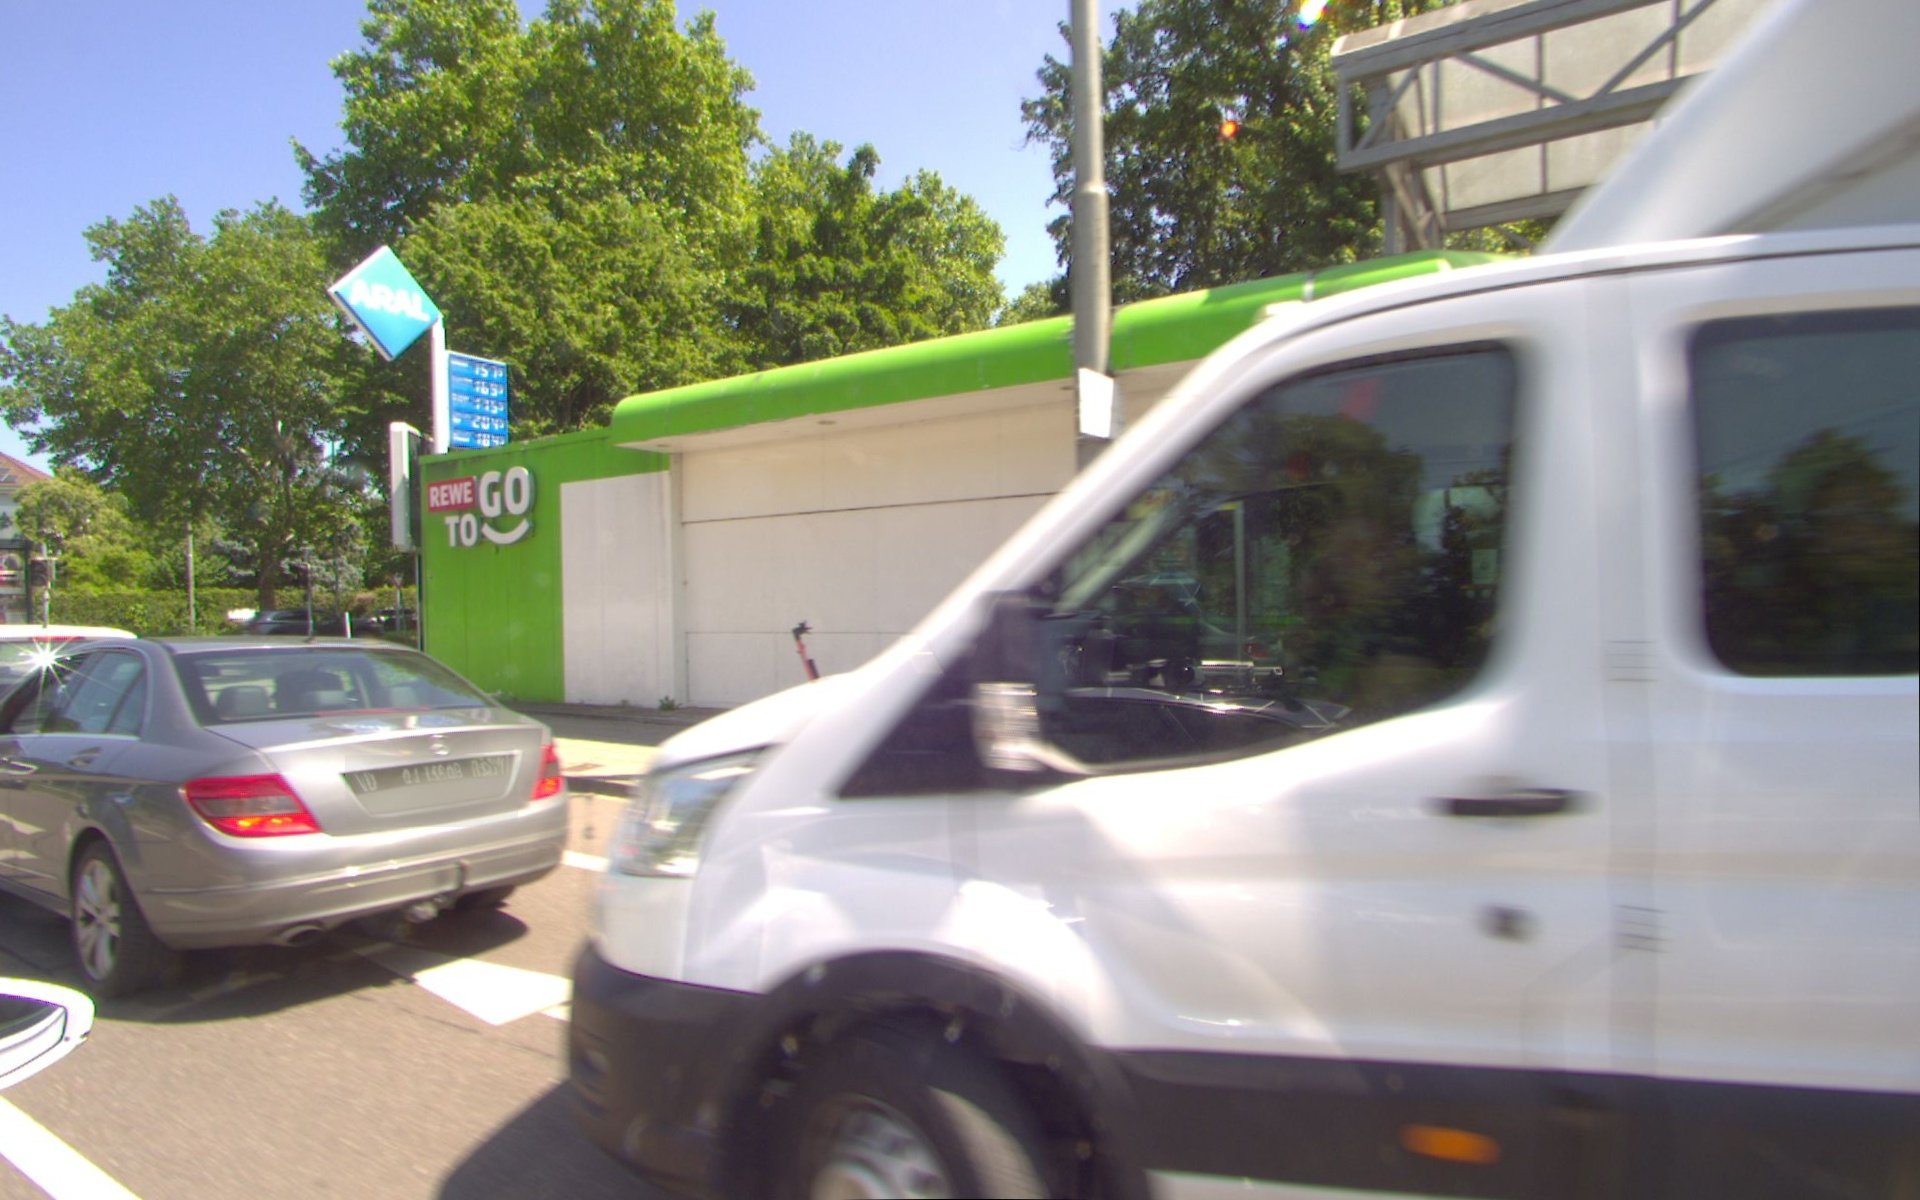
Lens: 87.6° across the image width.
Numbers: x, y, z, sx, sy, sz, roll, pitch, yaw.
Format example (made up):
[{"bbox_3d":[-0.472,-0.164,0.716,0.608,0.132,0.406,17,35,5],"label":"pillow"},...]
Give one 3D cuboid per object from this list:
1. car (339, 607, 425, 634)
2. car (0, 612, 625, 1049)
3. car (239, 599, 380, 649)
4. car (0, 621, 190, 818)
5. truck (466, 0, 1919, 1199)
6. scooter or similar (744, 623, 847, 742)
[{"bbox_3d":[-34.070,1.205,59.111,1.976,1.528,3.969,0,0,40],"label":"car"},{"bbox_3d":[-3.953,0.814,5.341,4.355,1.469,1.792,-1,0,33],"label":"car"},{"bbox_3d":[-26.044,0.916,40.190,4.493,1.853,1.981,0,0,-43],"label":"car"},{"bbox_3d":[-8.427,0.923,8.767,3.471,1.470,1.604,-1,-1,33],"label":"car"},{"bbox_3d":[3.019,-0.180,2.417,7.686,3.436,2.426,-1,0,12],"label":"truck"},{"bbox_3d":[-1.797,0.868,10.875,1.124,1.211,0.381,-1,3,37],"label":"scooter or similar"}]
